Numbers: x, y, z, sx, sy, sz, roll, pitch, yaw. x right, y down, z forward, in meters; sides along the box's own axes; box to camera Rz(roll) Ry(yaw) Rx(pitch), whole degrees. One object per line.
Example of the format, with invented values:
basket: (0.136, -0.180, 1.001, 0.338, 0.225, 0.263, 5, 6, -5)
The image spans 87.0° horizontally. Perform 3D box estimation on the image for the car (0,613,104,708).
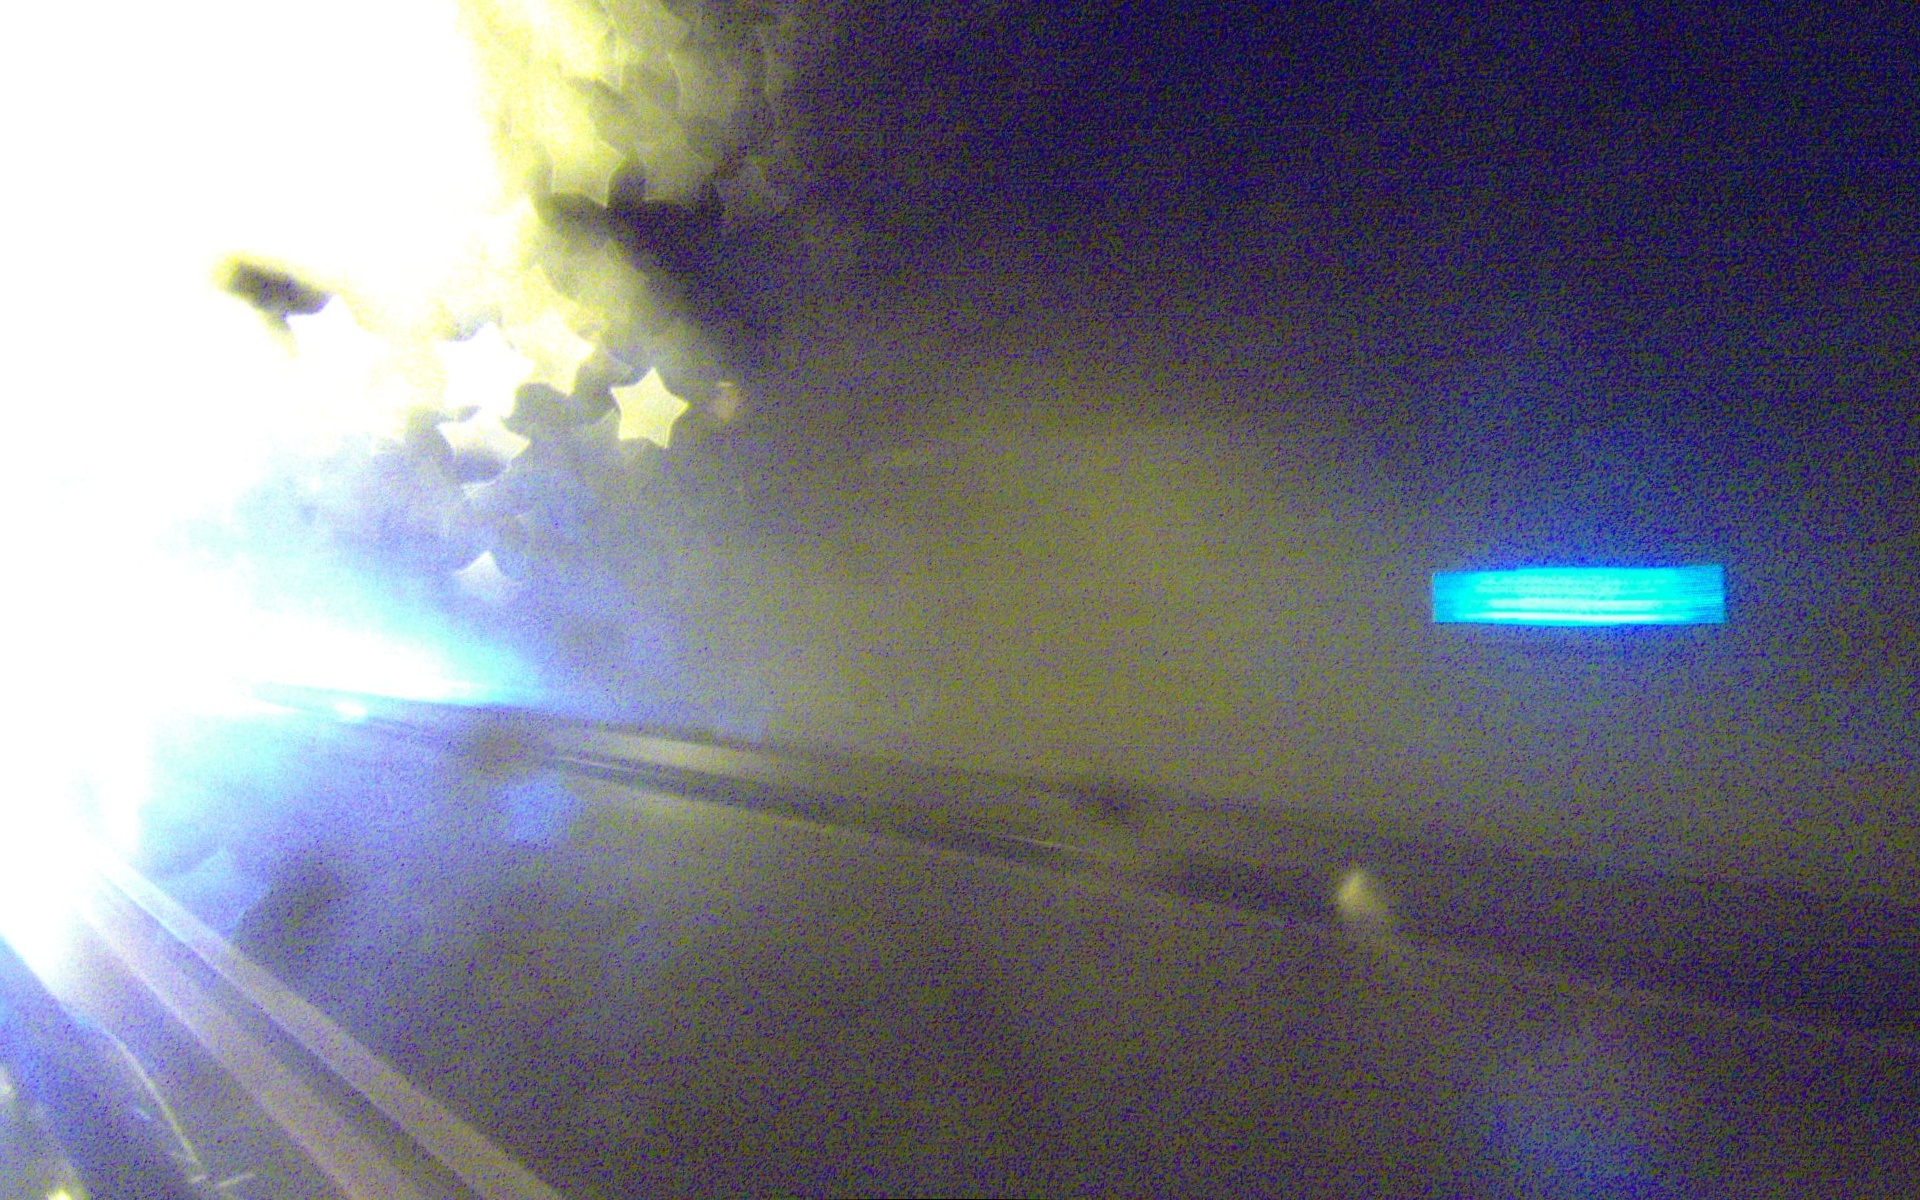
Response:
car: (-17.014, 1.064, 18.677, 1.564, 1.549, 3.178, -4, 2, -45)

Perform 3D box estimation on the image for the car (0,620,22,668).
car: (-32.367, 1.462, 33.704, 1.602, 1.529, 4.141, 0, -1, -44)
